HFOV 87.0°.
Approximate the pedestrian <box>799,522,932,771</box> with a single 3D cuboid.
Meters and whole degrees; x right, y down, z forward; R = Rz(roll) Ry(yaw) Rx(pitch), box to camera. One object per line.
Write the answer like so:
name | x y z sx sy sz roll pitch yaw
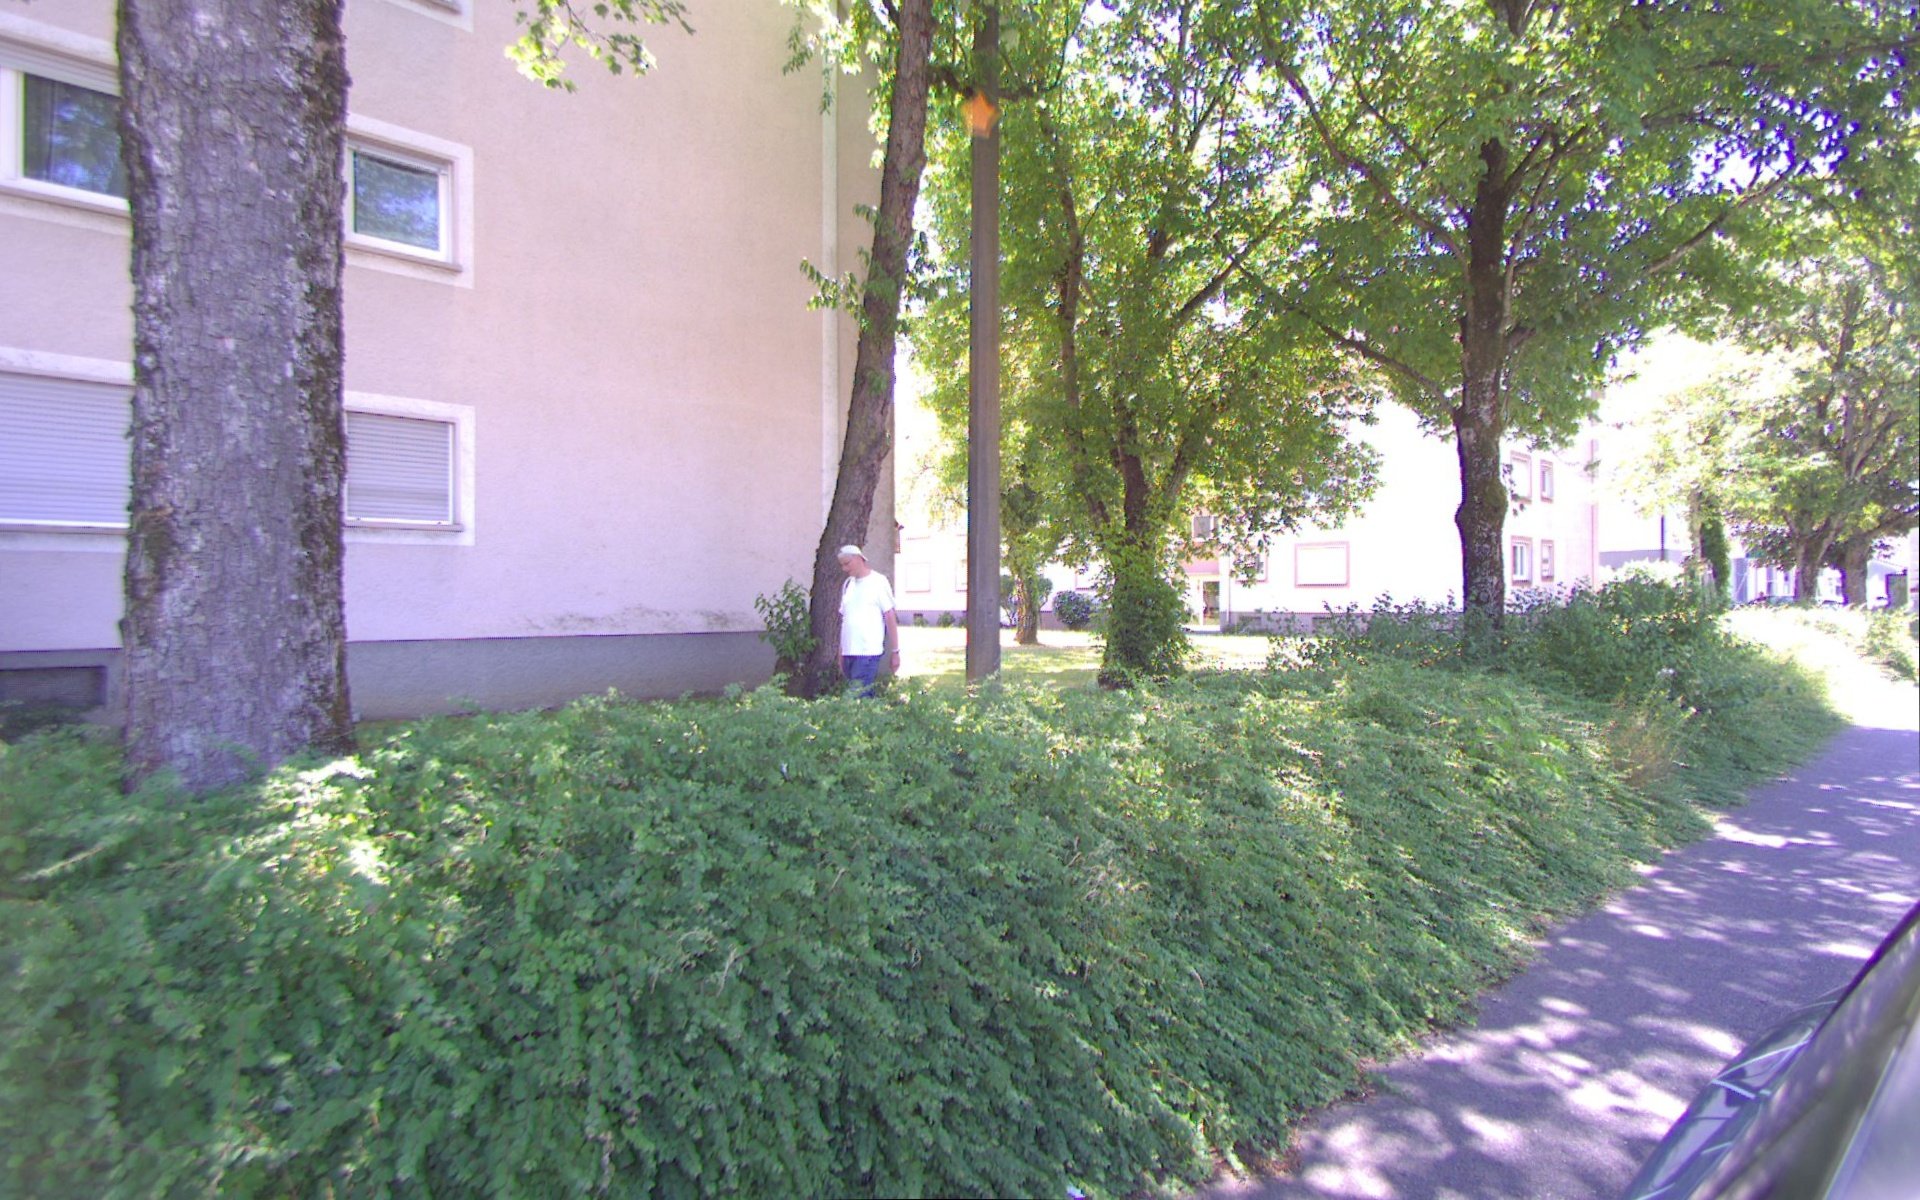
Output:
pedestrian | -0.758 0.356 8.270 0.668 1.897 0.894 -2 -1 28
